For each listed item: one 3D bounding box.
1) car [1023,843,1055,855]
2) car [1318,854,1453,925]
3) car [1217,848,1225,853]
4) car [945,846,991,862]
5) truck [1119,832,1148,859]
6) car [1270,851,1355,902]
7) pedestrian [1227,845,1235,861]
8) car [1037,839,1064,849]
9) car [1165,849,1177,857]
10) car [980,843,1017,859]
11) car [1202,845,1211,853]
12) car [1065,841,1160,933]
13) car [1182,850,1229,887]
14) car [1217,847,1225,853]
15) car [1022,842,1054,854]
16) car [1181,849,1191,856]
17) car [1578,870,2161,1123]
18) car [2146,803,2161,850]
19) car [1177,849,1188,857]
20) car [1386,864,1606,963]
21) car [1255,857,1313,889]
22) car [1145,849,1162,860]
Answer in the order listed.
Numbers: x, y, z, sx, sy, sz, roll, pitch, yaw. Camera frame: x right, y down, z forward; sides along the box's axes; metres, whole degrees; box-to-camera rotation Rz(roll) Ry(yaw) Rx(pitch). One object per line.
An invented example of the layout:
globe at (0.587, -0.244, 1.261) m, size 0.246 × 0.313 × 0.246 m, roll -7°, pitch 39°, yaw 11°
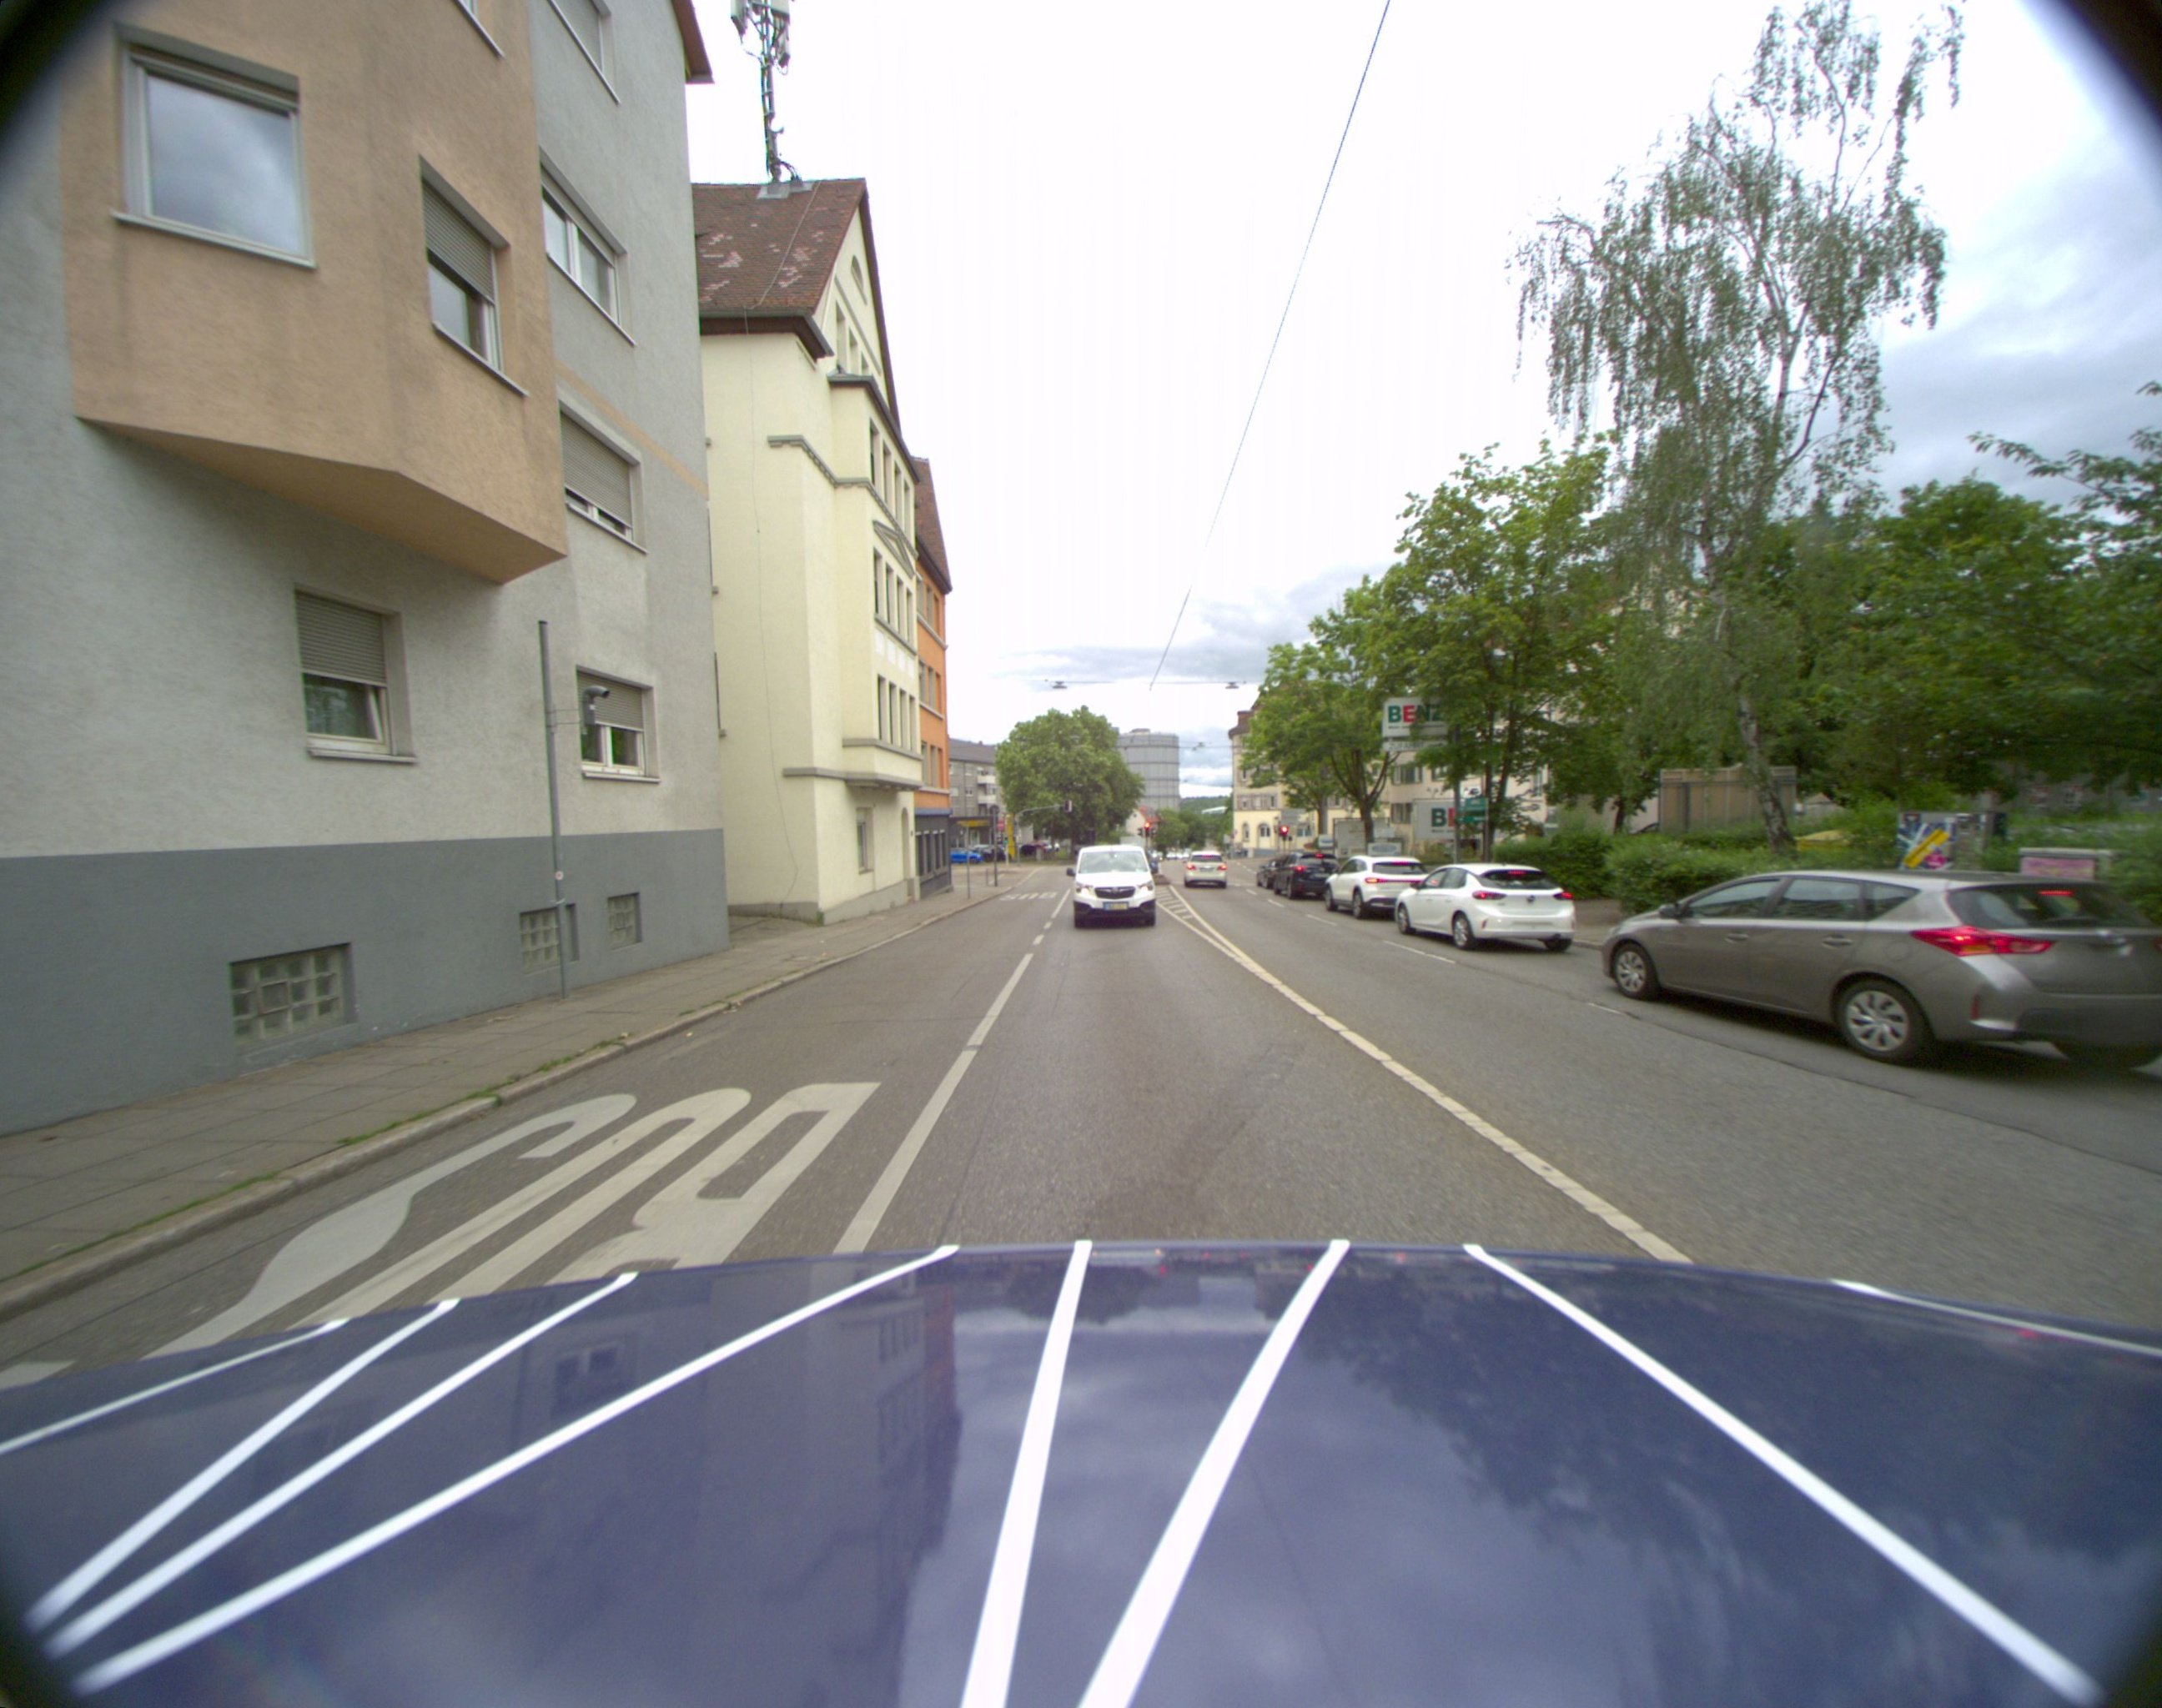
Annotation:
car at (-5.836, -0.701, 106.084) m, size 4.007 × 1.496 × 1.858 m, roll -2°, pitch 2°, yaw -33°
car at (7.839, 0.839, 20.058) m, size 1.956 × 1.584 × 4.498 m, roll 1°, pitch 1°, yaw 3°
car at (41.545, -1.044, 225.425) m, size 1.996 × 1.590 × 4.004 m, roll -3°, pitch 0°, yaw 13°
car at (-11.179, -0.010, 75.242) m, size 4.255 × 1.568 × 1.830 m, roll 1°, pitch 0°, yaw 2°
truck at (7.414, -1.254, 106.062) m, size 2.769 × 3.482 × 8.176 m, roll -2°, pitch 1°, yaw 12°
car at (8.216, 0.732, 27.398) m, size 1.955 × 1.633 × 4.414 m, roll 1°, pitch 1°, yaw 4°
pedestrian at (18.234, -0.110, 92.413) m, size 0.746 × 1.925 × 0.904 m, roll -4°, pitch 1°, yaw 11°
car at (-4.475, -1.488, 112.472) m, size 3.624 × 1.496 × 1.787 m, roll -2°, pitch 2°, yaw -41°
car at (18.534, -0.160, 155.814) m, size 1.996 × 1.590 × 4.004 m, roll -3°, pitch 0°, yaw 13°
car at (-9.211, -0.324, 85.259) m, size 1.823 × 1.599 × 4.178 m, roll 7°, pitch 4°, yaw 34°
car at (30.489, -1.270, 184.533) m, size 1.868 × 1.873 × 4.288 m, roll 1°, pitch 1°, yaw 10°
car at (0.717, 0.662, 17.995) m, size 1.888 × 1.827 × 4.676 m, roll -2°, pitch 0°, yaw 2°
car at (5.547, 0.604, 34.190) m, size 1.779 × 1.538 × 4.326 m, roll 1°, pitch 1°, yaw 5°
car at (39.523, -1.122, 214.407) m, size 1.996 × 1.590 × 4.004 m, roll -3°, pitch 0°, yaw 13°
car at (-5.868, -0.857, 103.415) m, size 4.007 × 1.496 × 1.858 m, roll -2°, pitch 2°, yaw -36°
car at (26.300, -0.445, 190.523) m, size 1.996 × 1.590 × 4.004 m, roll -3°, pitch 0°, yaw 13°
car at (6.787, 0.928, 6.859) m, size 1.843 × 1.439 × 4.311 m, roll 0°, pitch 1°, yaw 1°
car at (38.723, -0.987, 24.966) m, size 1.922 × 1.664 × 3.930 m, roll -2°, pitch 1°, yaw 0°
car at (22.861, -0.196, 170.581) m, size 1.996 × 1.590 × 4.004 m, roll -3°, pitch 0°, yaw 13°
car at (7.237, 0.949, 13.800) m, size 1.843 × 1.404 × 4.074 m, roll 1°, pitch 1°, yaw 2°
car at (8.959, 0.797, 33.801) m, size 1.805 × 1.274 × 4.238 m, roll 1°, pitch 1°, yaw 6°
car at (11.728, 0.128, 122.711) m, size 1.996 × 1.620 × 4.413 m, roll -2°, pitch 1°, yaw 13°
